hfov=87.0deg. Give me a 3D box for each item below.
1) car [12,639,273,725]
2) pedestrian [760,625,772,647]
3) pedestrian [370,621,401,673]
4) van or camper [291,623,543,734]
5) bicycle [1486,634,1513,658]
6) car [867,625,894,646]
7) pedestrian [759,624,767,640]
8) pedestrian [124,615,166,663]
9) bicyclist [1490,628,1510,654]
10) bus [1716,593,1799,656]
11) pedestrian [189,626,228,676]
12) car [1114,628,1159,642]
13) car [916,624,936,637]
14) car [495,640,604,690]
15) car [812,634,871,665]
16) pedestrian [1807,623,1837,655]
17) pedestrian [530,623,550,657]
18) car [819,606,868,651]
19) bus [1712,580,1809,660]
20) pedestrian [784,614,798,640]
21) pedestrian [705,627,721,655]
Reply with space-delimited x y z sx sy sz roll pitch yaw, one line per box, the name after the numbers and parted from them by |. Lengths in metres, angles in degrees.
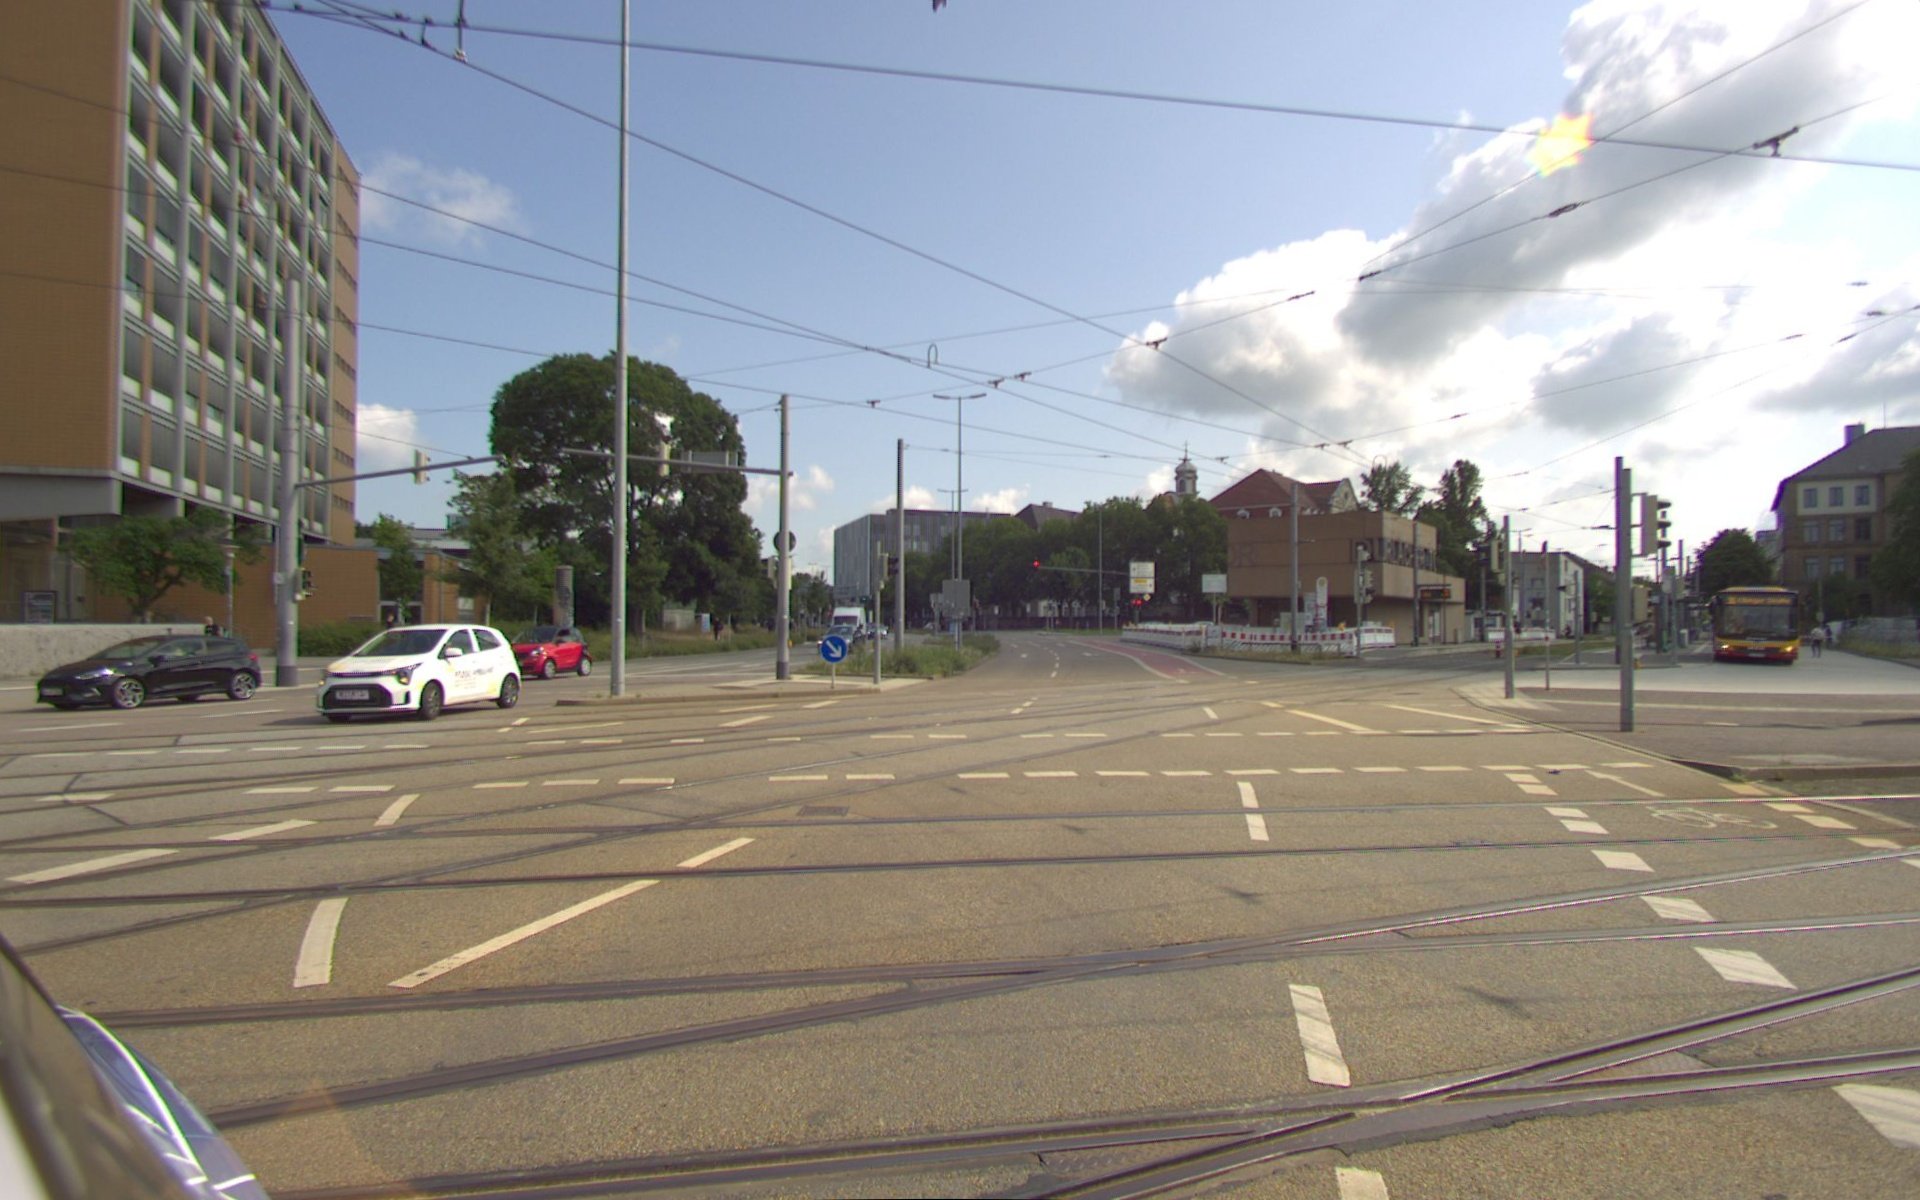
-16.790 1.605 21.047 1.699 1.465 3.978 0 0 17 | car
-18.388 3.415 95.908 0.972 2.029 1.132 1 0 -6 | pedestrian
-23.659 1.937 41.686 0.725 2.028 0.797 6 2 41 | pedestrian
-8.615 1.172 16.481 1.609 1.487 3.991 -2 -1 7 | van or camper
24.738 2.125 46.402 0.811 1.000 2.045 1 -2 36 | bicycle
-7.464 3.284 95.245 1.973 1.785 4.138 1 0 2 | car
-26.110 4.218 134.113 0.972 2.029 1.131 0 -2 -6 | pedestrian
-29.097 1.405 36.148 0.765 1.599 0.926 6 0 41 | pedestrian
24.754 1.898 46.425 0.696 1.161 0.729 1 -3 36 | bicyclist
34.871 1.074 44.373 2.697 2.607 5.014 -1 -2 37 | bus
-24.570 1.657 33.097 0.760 1.600 0.767 0 -2 -13 | pedestrian
17.547 3.465 100.804 4.059 1.401 1.765 0 -2 -18 | car
-4.894 4.389 145.106 1.967 1.580 4.793 3 0 -11 | car
-11.967 1.863 29.674 1.592 1.223 3.000 0 1 11 | car
-5.931 2.467 51.169 1.975 1.290 4.536 2 0 6 | car
42.183 1.915 49.520 0.793 1.533 0.846 -1 -2 18 | pedestrian
-19.452 1.858 46.873 0.476 1.531 0.578 4 1 16 | pedestrian
-7.886 1.953 69.362 2.453 2.901 6.144 0 -2 2 | car
31.231 0.803 39.614 2.697 2.855 7.009 -2 -2 38 | bus
-13.669 2.202 81.996 0.972 2.029 1.132 1 0 -6 | pedestrian
-17.334 2.864 71.160 0.752 1.885 0.643 5 1 9 | pedestrian
